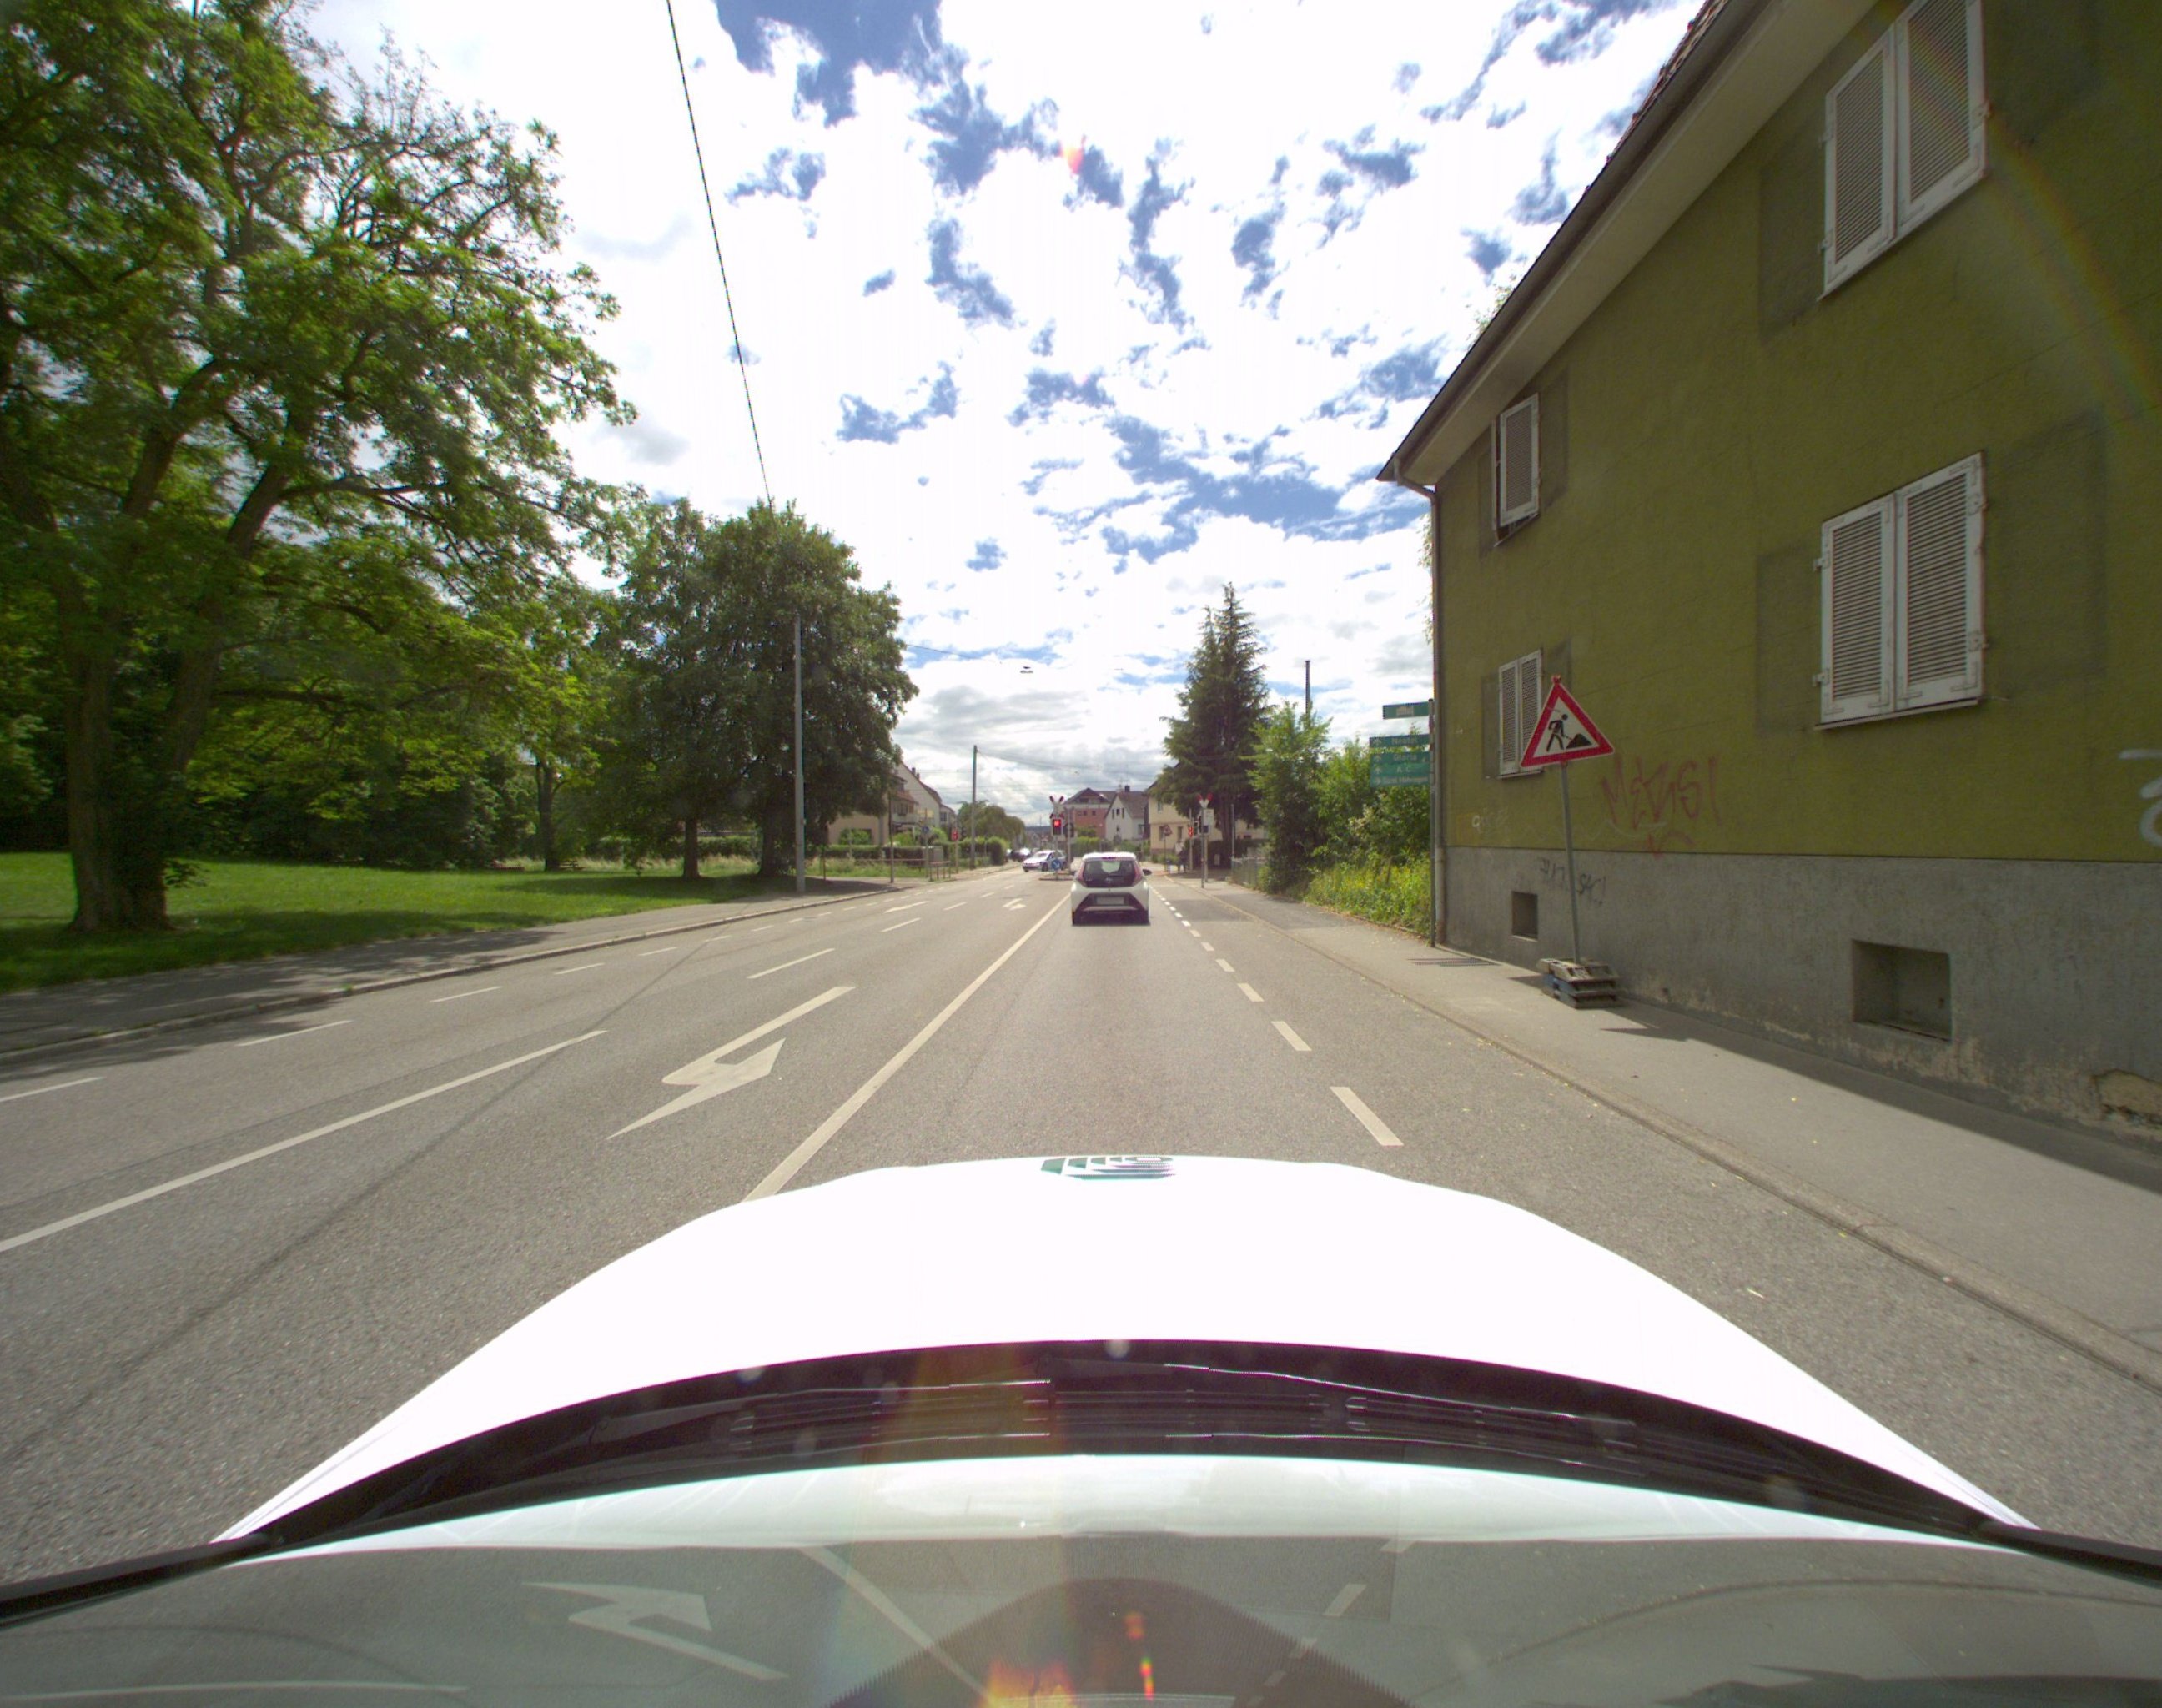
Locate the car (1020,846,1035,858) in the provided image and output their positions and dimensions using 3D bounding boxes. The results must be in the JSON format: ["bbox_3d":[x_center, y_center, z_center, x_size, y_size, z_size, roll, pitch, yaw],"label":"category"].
[{"bbox_3d":[-7.316,-0.267,111.259,1.989,1.719,3.995,0,0,-4],"label":"car"}]

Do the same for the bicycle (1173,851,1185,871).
[{"bbox_3d":[6.209,0.408,51.566,0.456,1.172,1.478,-4,3,-3],"label":"bicycle"}]

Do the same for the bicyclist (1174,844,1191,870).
[{"bbox_3d":[6.406,0.213,51.450,0.839,1.553,0.755,-4,2,-4],"label":"bicyclist"}]

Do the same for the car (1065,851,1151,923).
[{"bbox_3d":[0.574,0.647,18.158,1.715,1.442,3.709,0,0,1],"label":"car"}]

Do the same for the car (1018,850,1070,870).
[{"bbox_3d":[-2.717,0.401,60.124,1.887,1.441,4.124,0,0,30],"label":"car"}]
